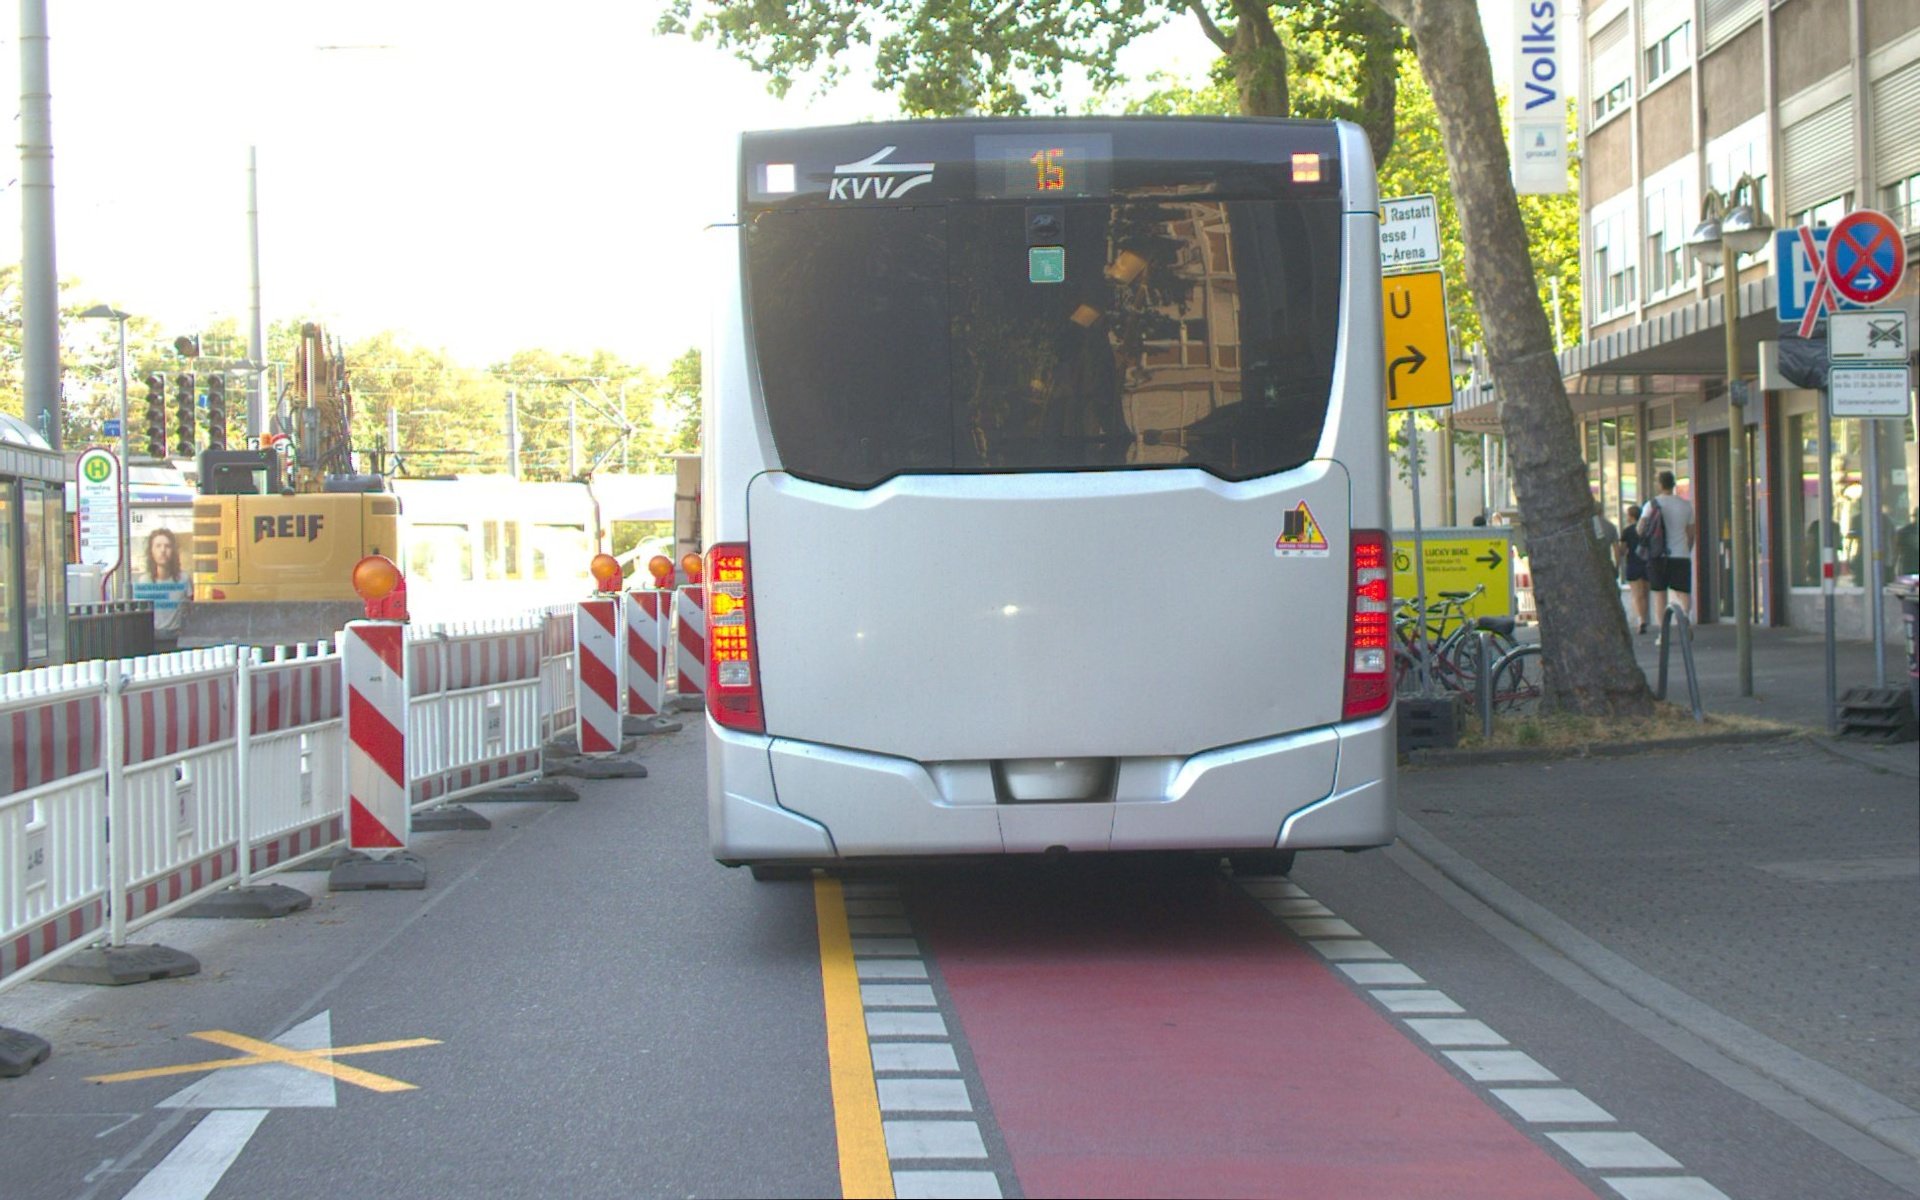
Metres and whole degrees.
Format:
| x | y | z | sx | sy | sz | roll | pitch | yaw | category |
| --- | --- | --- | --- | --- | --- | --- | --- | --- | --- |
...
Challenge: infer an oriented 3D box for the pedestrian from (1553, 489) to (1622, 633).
| x | y | z | sx | sy | sz | roll | pitch | yaw | category |
| --- | --- | --- | --- | --- | --- | --- | --- | --- | --- |
| 7.646 | -0.480 | 41.911 | 0.583 | 1.702 | 0.679 | -4 | 1 | -1 | pedestrian |

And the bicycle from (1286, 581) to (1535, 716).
| x | y | z | sx | sy | sz | roll | pitch | yaw | category |
| --- | --- | --- | --- | --- | --- | --- | --- | --- | --- |
| 3.900 | 0.412 | 29.828 | 1.987 | 1.054 | 0.771 | -3 | 0 | -3 | bicycle |

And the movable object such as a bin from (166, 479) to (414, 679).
| x | y | z | sx | sy | sz | roll | pitch | yaw | category |
| --- | --- | --- | --- | --- | --- | --- | --- | --- | --- |
| -8.232 | -0.289 | 42.718 | 2.642 | 2.310 | 4.903 | -1 | 1 | -7 | movable object such as a bin |

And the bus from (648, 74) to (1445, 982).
| x | y | z | sx | sy | sz | roll | pitch | yaw | category |
| --- | --- | --- | --- | --- | --- | --- | --- | --- | --- |
| 0.128 | -0.345 | 17.361 | 2.733 | 3.128 | 10.704 | 1 | 1 | -2 | bus |

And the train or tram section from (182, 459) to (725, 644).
| x | y | z | sx | sy | sz | roll | pitch | yaw | category |
| --- | --- | --- | --- | --- | --- | --- | --- | --- | --- |
| -10.237 | -1.006 | 72.003 | 2.855 | 3.521 | 13.370 | -1 | 0 | 35 | train or tram section |

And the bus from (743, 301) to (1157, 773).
| x | y | z | sx | sy | sz | roll | pitch | yaw | category |
| --- | --- | --- | --- | --- | --- | --- | --- | --- | --- |
| -0.209 | -0.480 | 27.189 | 2.708 | 3.096 | 8.980 | 0 | 1 | -2 | bus |

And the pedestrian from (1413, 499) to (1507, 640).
| x | y | z | sx | sy | sz | roll | pitch | yaw | category |
| --- | --- | --- | --- | --- | --- | --- | --- | --- | --- |
| 6.314 | -0.390 | 43.462 | 0.899 | 1.704 | 1.071 | -4 | 1 | -1 | pedestrian |

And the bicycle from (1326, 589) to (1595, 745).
| x | y | z | sx | sy | sz | roll | pitch | yaw | category |
| --- | --- | --- | --- | --- | --- | --- | --- | --- | --- |
| 3.609 | 0.474 | 24.842 | 1.789 | 1.018 | 0.644 | -3 | 1 | -3 | bicycle |

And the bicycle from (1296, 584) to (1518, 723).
| x | y | z | sx | sy | sz | roll | pitch | yaw | category |
| --- | --- | --- | --- | --- | --- | --- | --- | --- | --- |
| 3.685 | 0.436 | 28.424 | 1.713 | 1.054 | 0.644 | -3 | 1 | 1 | bicycle |

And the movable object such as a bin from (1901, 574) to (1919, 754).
| x | y | z | sx | sy | sz | roll | pitch | yaw | category |
| --- | --- | --- | --- | --- | --- | --- | --- | --- | --- |
| 6.057 | 0.376 | 20.146 | 0.674 | 1.071 | 1.228 | -4 | 1 | -1 | movable object such as a bin |

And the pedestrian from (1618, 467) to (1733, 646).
| x | y | z | sx | sy | sz | roll | pitch | yaw | category |
| --- | --- | --- | --- | --- | --- | --- | --- | --- | --- |
| 7.861 | -0.480 | 37.818 | 0.838 | 1.863 | 1.100 | -6 | 1 | -1 | pedestrian |

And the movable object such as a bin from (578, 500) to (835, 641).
| x | y | z | sx | sy | sz | roll | pitch | yaw | category |
| --- | --- | --- | --- | --- | --- | --- | --- | --- | --- |
| -4.188 | -0.544 | 57.795 | 1.996 | 2.249 | 5.201 | 1 | 2 | 26 | movable object such as a bin |

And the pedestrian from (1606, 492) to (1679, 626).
| x | y | z | sx | sy | sz | roll | pitch | yaw | category |
| --- | --- | --- | --- | --- | --- | --- | --- | --- | --- |
| 8.317 | -0.506 | 41.906 | 0.633 | 1.568 | 0.774 | -4 | 2 | -1 | pedestrian |

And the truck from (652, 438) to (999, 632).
| x | y | z | sx | sy | sz | roll | pitch | yaw | category |
| --- | --- | --- | --- | --- | --- | --- | --- | --- | --- |
| -2.475 | -1.287 | 67.511 | 2.816 | 3.529 | 8.971 | -1 | 1 | 26 | truck |
